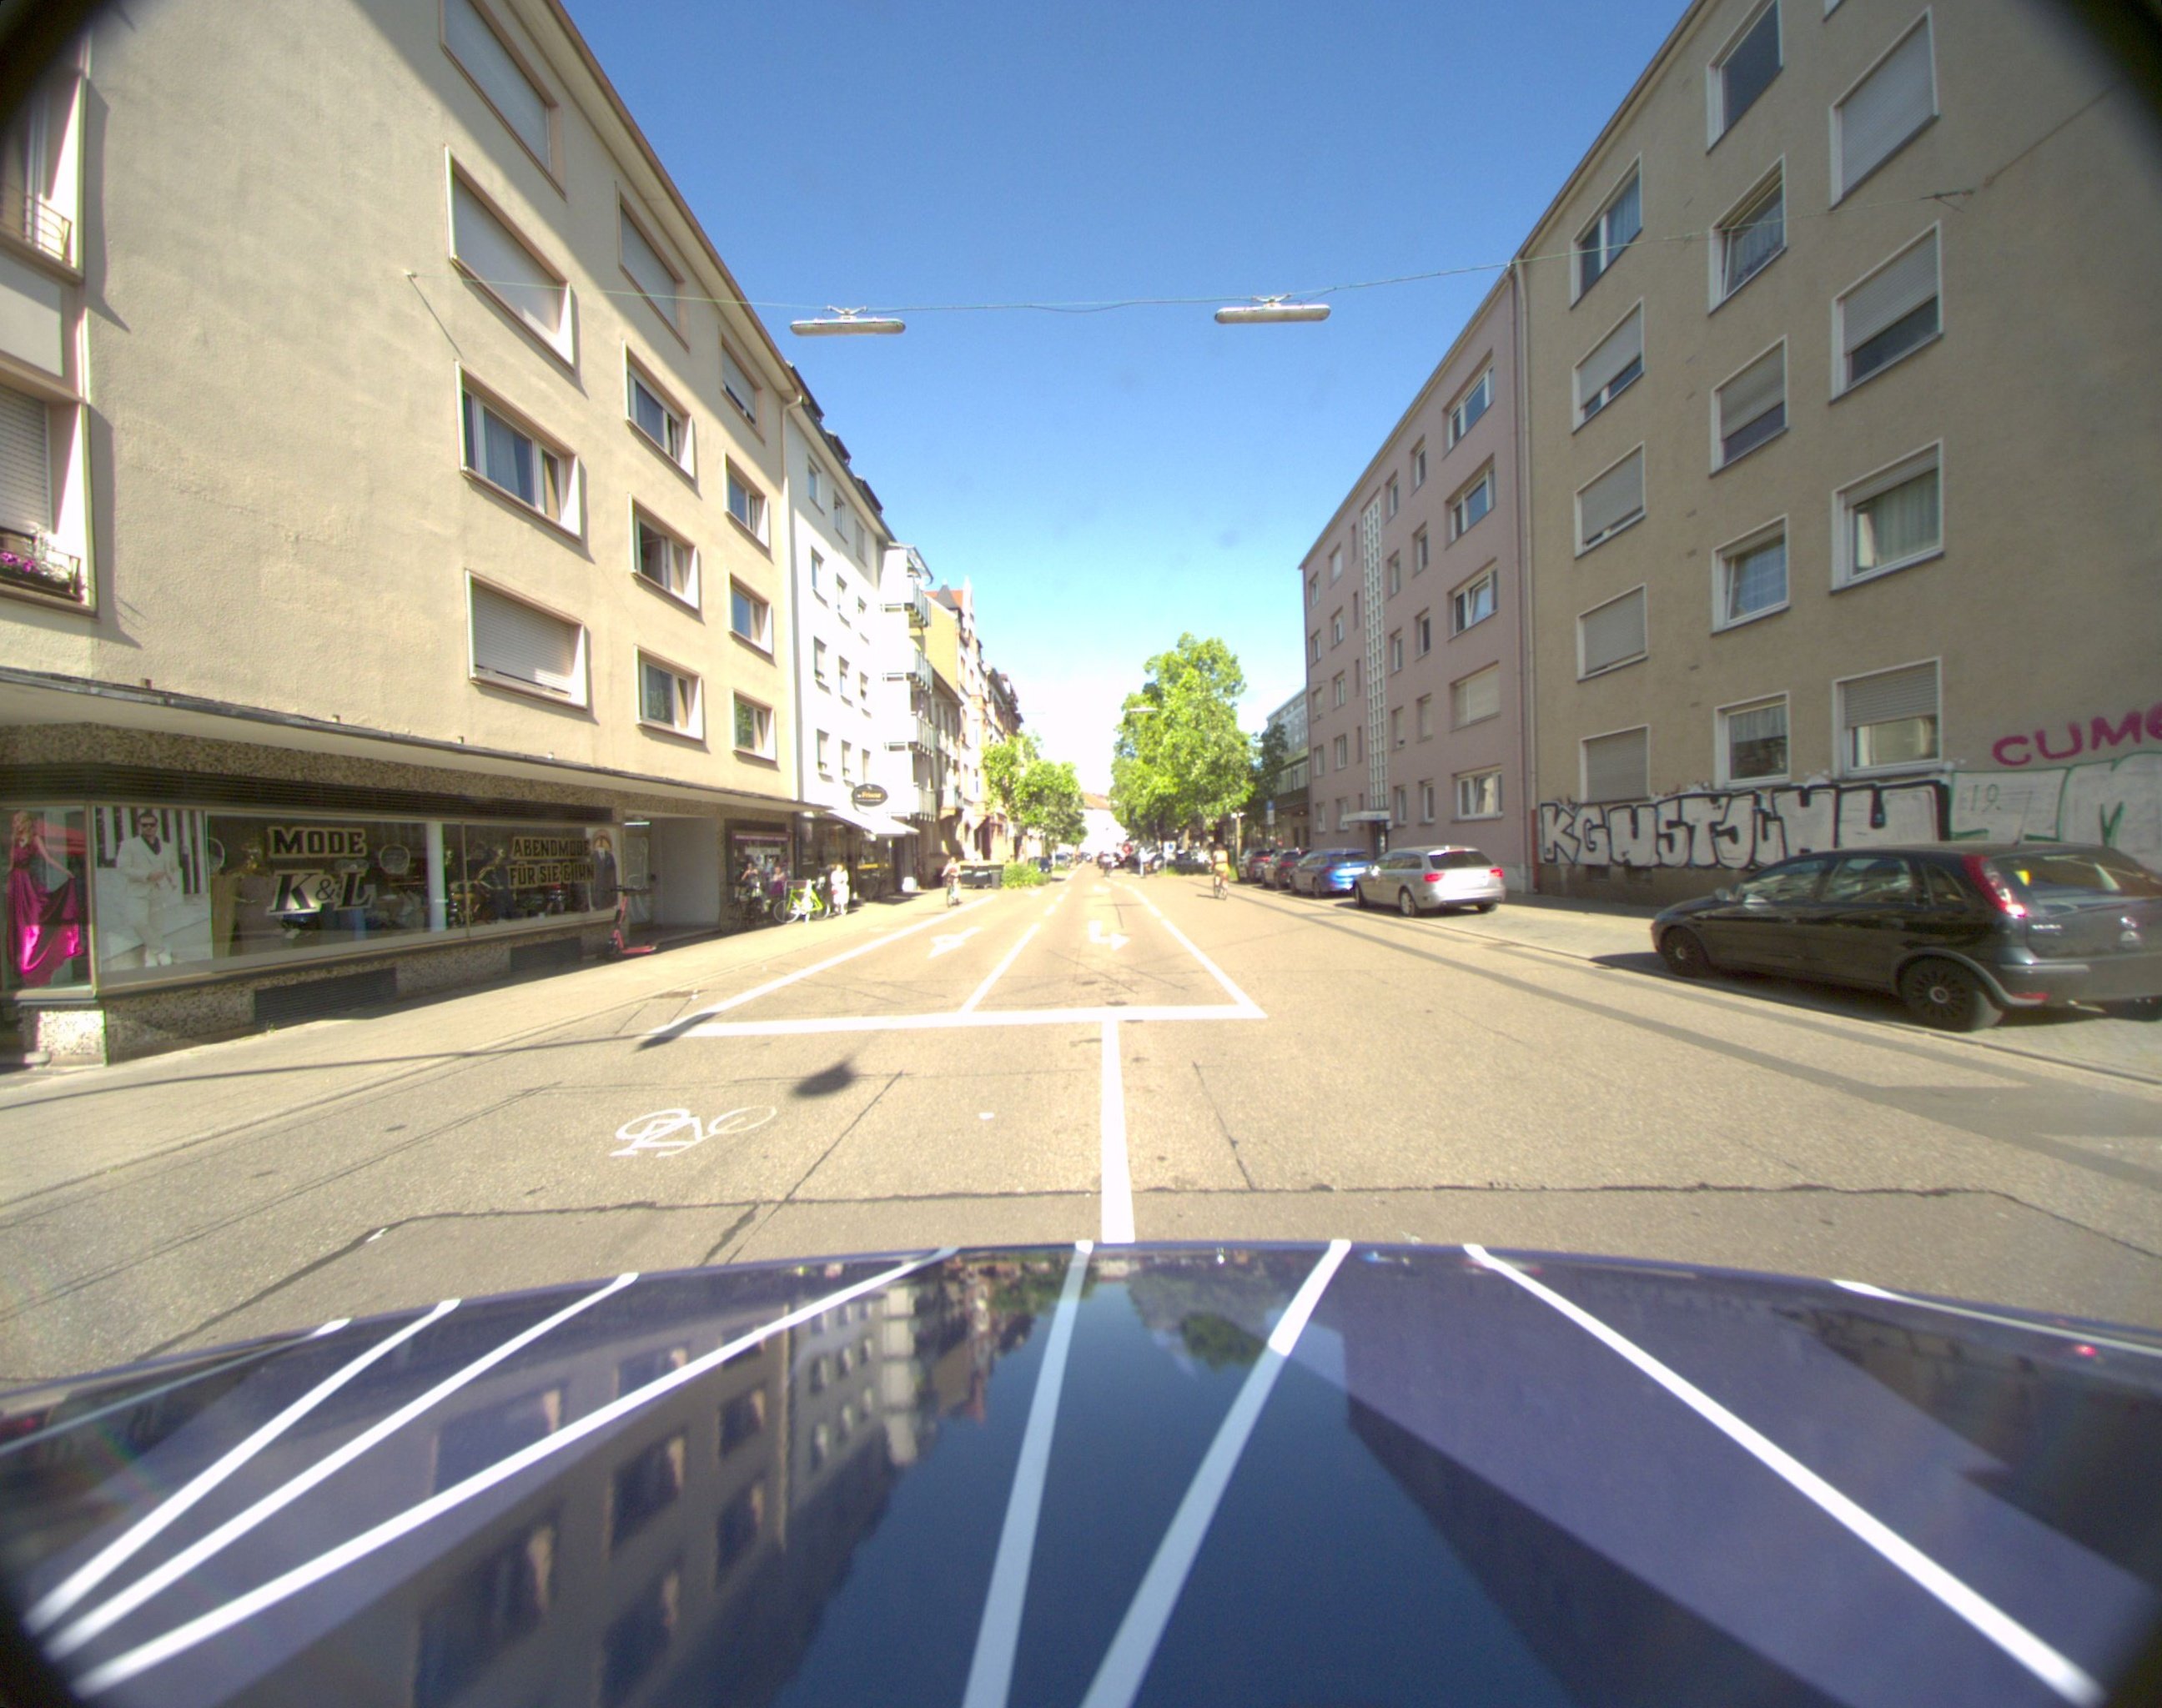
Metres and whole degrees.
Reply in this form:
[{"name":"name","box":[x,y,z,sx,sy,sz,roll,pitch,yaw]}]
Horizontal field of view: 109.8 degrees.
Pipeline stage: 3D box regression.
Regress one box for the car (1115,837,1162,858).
[{"name":"car","box":[7.155,-0.815,94.486,5.560,2.379,1.977,-2,1,-6]}]

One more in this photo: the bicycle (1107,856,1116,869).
[{"name":"bicycle","box":[2.298,0.651,57.634,0.681,0.946,1.933,0,1,1]}]

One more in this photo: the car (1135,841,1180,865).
[{"name":"car","box":[6.701,-0.097,66.820,3.875,2.031,1.913,-2,1,3]}]

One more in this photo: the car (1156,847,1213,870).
[{"name":"car","box":[7.544,0.346,55.658,3.996,1.543,1.913,-2,1,4]}]

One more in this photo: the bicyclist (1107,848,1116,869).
[{"name":"bicyclist","box":[2.315,0.314,57.648,0.681,1.567,0.899,0,1,1]}]

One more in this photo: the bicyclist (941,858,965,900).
[{"name":"bicyclist","box":[-4.264,0.829,25.327,0.582,1.369,0.665,-2,1,6]}]

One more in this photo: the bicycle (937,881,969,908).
[{"name":"bicycle","box":[-4.247,1.336,25.338,0.582,0.801,1.710,-2,1,6]}]

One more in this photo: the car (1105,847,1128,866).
[{"name":"car","box":[3.086,0.208,66.871,1.911,1.543,4.000,-2,1,1]}]

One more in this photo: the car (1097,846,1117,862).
[{"name":"car","box":[2.663,0.006,77.639,1.911,1.543,4.000,-2,1,1]}]

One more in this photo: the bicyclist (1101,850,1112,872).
[{"name":"bicyclist","box":[1.644,0.450,48.619,0.544,1.383,0.788,-2,1,-8]}]

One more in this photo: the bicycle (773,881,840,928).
[{"name":"bicycle","box":[-7.153,1.287,19.803,1.497,1.100,0.722,-2,1,-31]}]

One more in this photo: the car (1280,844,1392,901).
[{"name":"car","box":[7.819,0.513,23.815,1.828,1.494,4.801,-4,0,0]}]

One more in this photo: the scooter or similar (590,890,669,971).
[{"name":"scooter or similar","box":[-7.516,1.246,12.706,0.527,1.218,1.228,-2,1,1]}]

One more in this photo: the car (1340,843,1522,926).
[{"name":"car","box":[7.651,0.572,17.212,1.828,1.494,4.801,-4,0,0]}]

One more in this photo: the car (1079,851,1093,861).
[{"name":"car","box":[0.726,0.223,99.576,1.627,1.270,3.547,-2,1,3]}]

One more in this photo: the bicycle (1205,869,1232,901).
[{"name":"bicycle","box":[4.291,0.956,23.791,0.544,0.897,1.826,-2,1,1]}]

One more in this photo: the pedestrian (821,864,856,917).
[{"name":"pedestrian","box":[-6.896,1.031,21.626,0.775,1.434,0.625,-2,1,-3]}]

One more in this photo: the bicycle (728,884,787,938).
[{"name":"bicycle","box":[-7.365,1.271,17.374,0.407,1.078,1.801,1,1,6]}]

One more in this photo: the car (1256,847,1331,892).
[{"name":"car","box":[7.887,0.508,28.553,1.727,1.459,4.158,-4,0,3]}]

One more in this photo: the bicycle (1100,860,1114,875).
[{"name":"bicycle","box":[1.667,0.837,48.588,0.544,0.897,1.824,-2,1,-9]}]

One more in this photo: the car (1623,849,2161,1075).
[{"name":"car","box":[7.350,0.726,7.140,1.695,1.440,3.856,-4,0,0]}]

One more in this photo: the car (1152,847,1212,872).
[{"name":"car","box":[6.953,0.353,52.554,3.996,1.543,1.913,-2,1,4]}]

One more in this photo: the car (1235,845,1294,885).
[{"name":"car","box":[8.116,0.441,33.897,1.727,1.567,4.158,-4,1,3]}]

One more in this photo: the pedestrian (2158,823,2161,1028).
[{"name":"pedestrian","box":[8.491,0.546,5.517,0.532,1.572,0.563,-2,1,12]}]

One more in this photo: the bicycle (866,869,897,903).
[{"name":"bicycle","box":[-7.189,1.141,27.416,0.598,1.137,1.774,1,1,1]}]

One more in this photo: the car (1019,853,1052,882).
[{"name":"car","box":[-2.681,0.742,45.193,1.627,1.587,3.546,-2,1,1]}]

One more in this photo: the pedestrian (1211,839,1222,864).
[{"name":"pedestrian","box":[9.584,-0.173,53.741,0.623,1.796,0.502,-2,1,2]}]

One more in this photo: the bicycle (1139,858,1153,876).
[{"name":"bicycle","box":[3.778,0.750,44.502,0.681,0.946,1.933,-2,1,1]}]

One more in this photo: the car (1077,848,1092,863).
[{"name":"car","box":[0.441,0.181,85.550,1.627,1.587,3.547,-2,1,1]}]

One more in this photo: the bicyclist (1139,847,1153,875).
[{"name":"bicyclist","box":[3.823,0.404,44.546,0.681,1.621,0.899,-2,1,1]}]

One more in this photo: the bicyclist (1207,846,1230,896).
[{"name":"bicyclist","box":[4.274,0.508,23.617,0.544,1.512,0.774,-2,1,1]}]
